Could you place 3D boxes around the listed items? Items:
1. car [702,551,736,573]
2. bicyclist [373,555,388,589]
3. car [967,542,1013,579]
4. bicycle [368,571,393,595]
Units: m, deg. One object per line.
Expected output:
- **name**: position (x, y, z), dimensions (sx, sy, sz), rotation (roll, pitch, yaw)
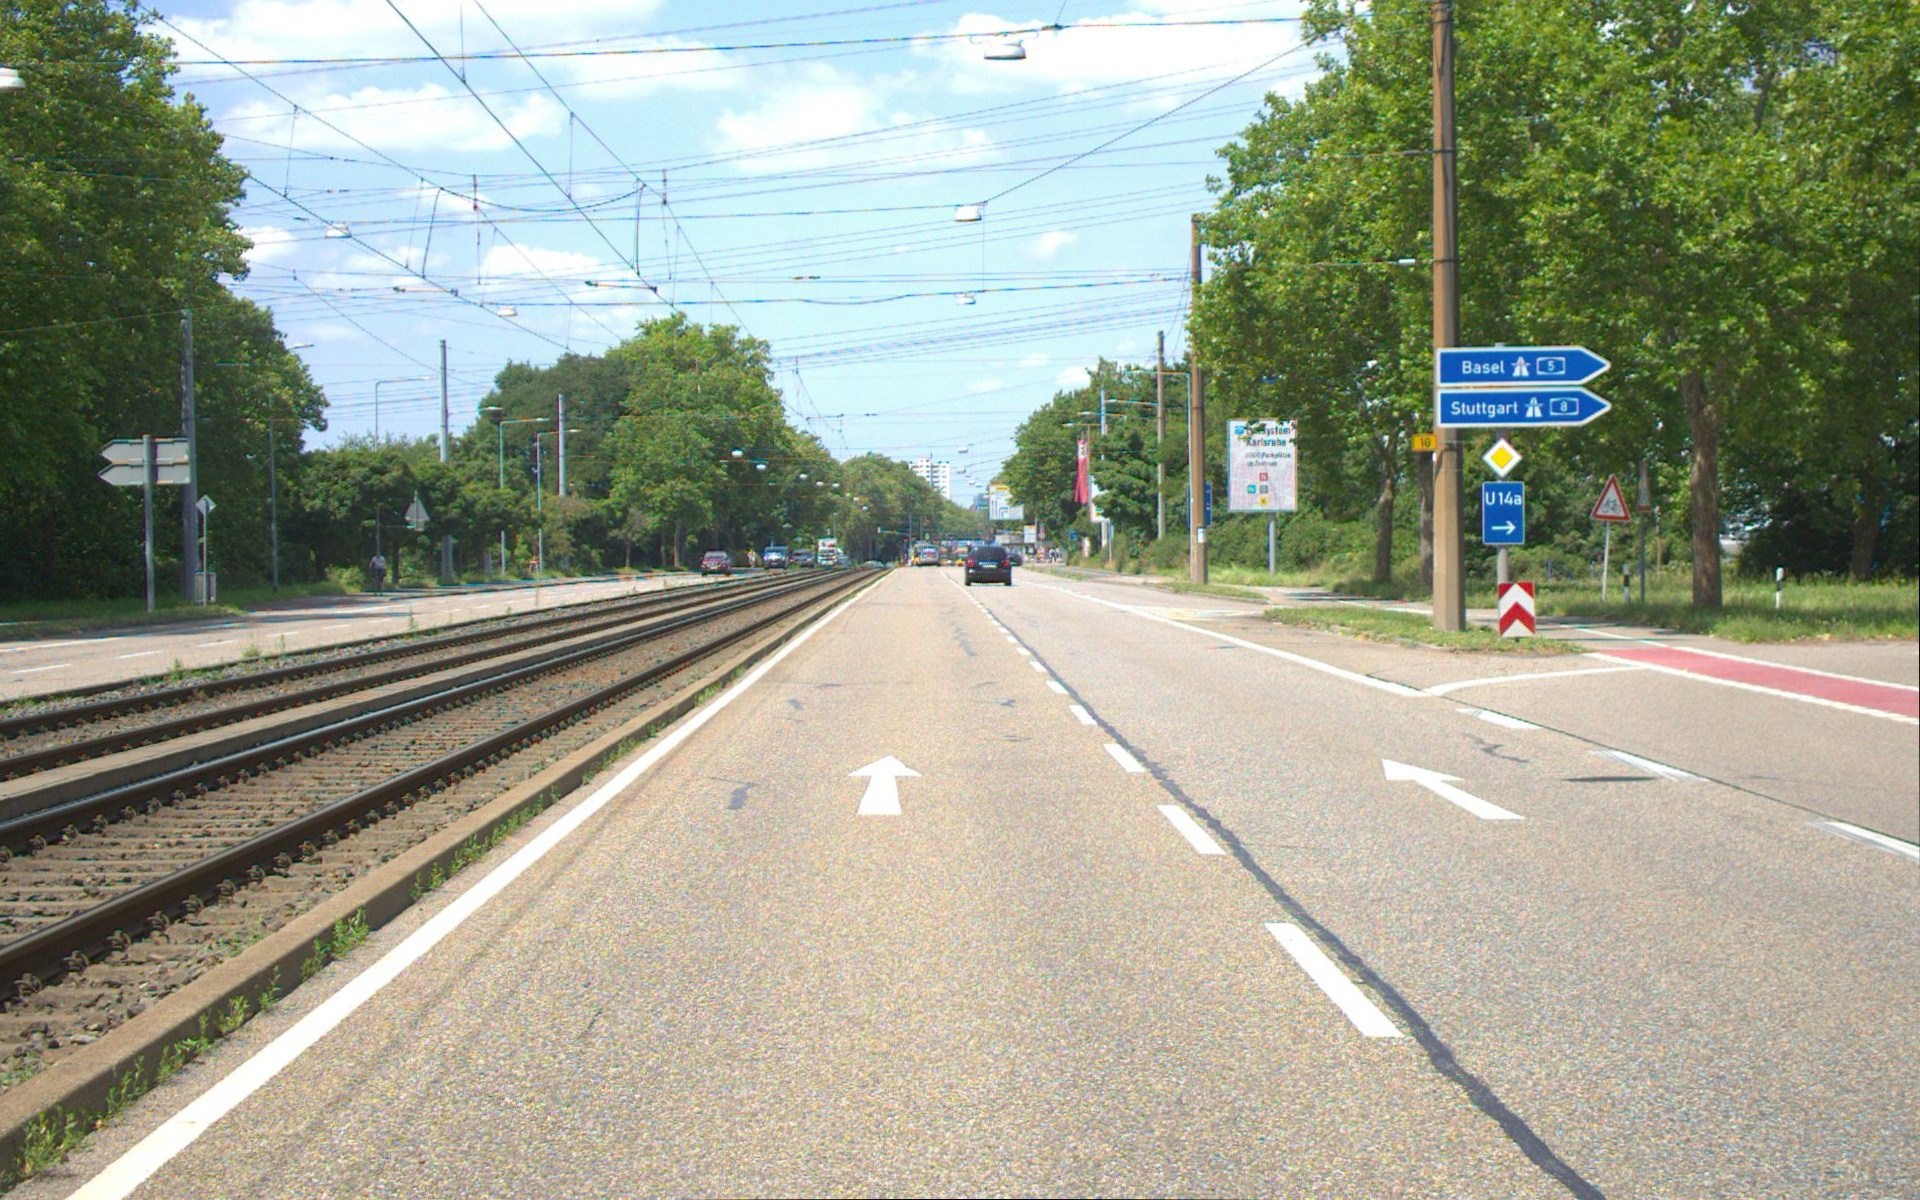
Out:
- **car**: position (-15.805, -2.501, 225.615), dimensions (1.875, 1.327, 3.918), rotation (-2, 1, 0)
- **bicyclist**: position (-21.368, -1.027, 126.717), dimensions (0.454, 1.268, 0.398), rotation (0, 1, 2)
- **car**: position (1.134, -1.539, 131.808), dimensions (1.586, 1.338, 3.273), rotation (-1, 2, -2)
- **bicycle**: position (-21.363, -0.620, 126.742), dimensions (0.515, 0.854, 1.931), rotation (-1, 1, 2)
